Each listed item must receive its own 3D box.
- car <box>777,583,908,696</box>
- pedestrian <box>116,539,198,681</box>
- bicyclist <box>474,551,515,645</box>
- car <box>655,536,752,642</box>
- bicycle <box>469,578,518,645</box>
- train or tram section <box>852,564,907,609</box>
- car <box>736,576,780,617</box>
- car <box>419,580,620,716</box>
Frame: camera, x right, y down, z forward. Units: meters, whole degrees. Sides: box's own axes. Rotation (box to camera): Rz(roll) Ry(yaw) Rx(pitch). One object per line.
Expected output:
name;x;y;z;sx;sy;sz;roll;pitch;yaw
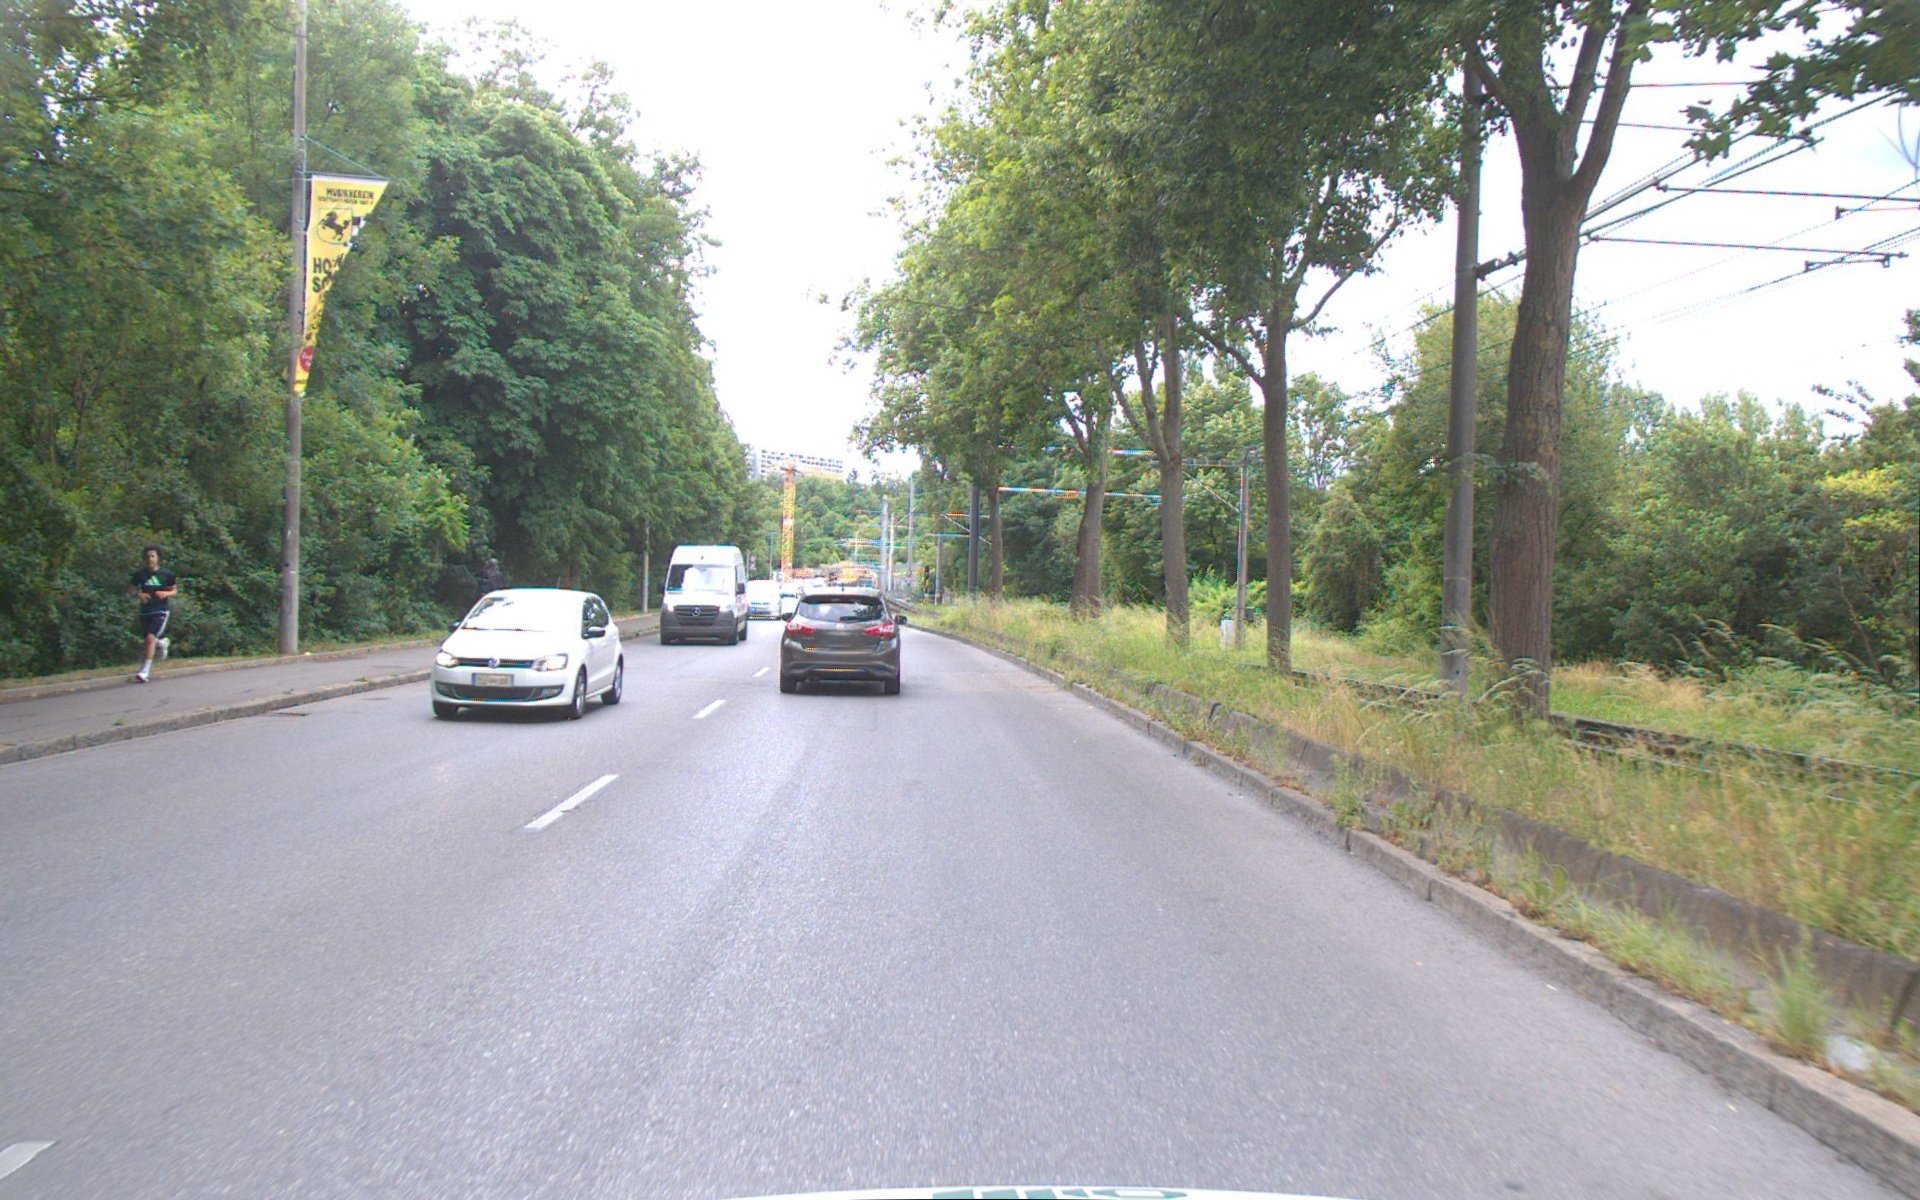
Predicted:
car;-1.846;0.544;25.073;1.795;1.536;3.995;1;0;-6
pedestrian;-10.167;0.123;20.974;0.587;1.744;0.814;3;0;-3
bicyclist;-9.969;-0.043;35.461;0.674;1.982;0.834;3;0;-9
car;-6.868;-0.313;44.811;1.954;2.672;5.891;1;1;-3
bicycle;-9.992;0.219;35.503;0.685;1.354;2.276;3;0;-9
train or tram section;-11.280;-1.738;228.667;2.977;5.273;22.966;3;-2;-14
car;-9.382;-0.181;77.083;1.820;1.830;4.552;0;1;-5
car;-5.186;0.525;19.965;1.691;1.453;3.995;1;0;-6
